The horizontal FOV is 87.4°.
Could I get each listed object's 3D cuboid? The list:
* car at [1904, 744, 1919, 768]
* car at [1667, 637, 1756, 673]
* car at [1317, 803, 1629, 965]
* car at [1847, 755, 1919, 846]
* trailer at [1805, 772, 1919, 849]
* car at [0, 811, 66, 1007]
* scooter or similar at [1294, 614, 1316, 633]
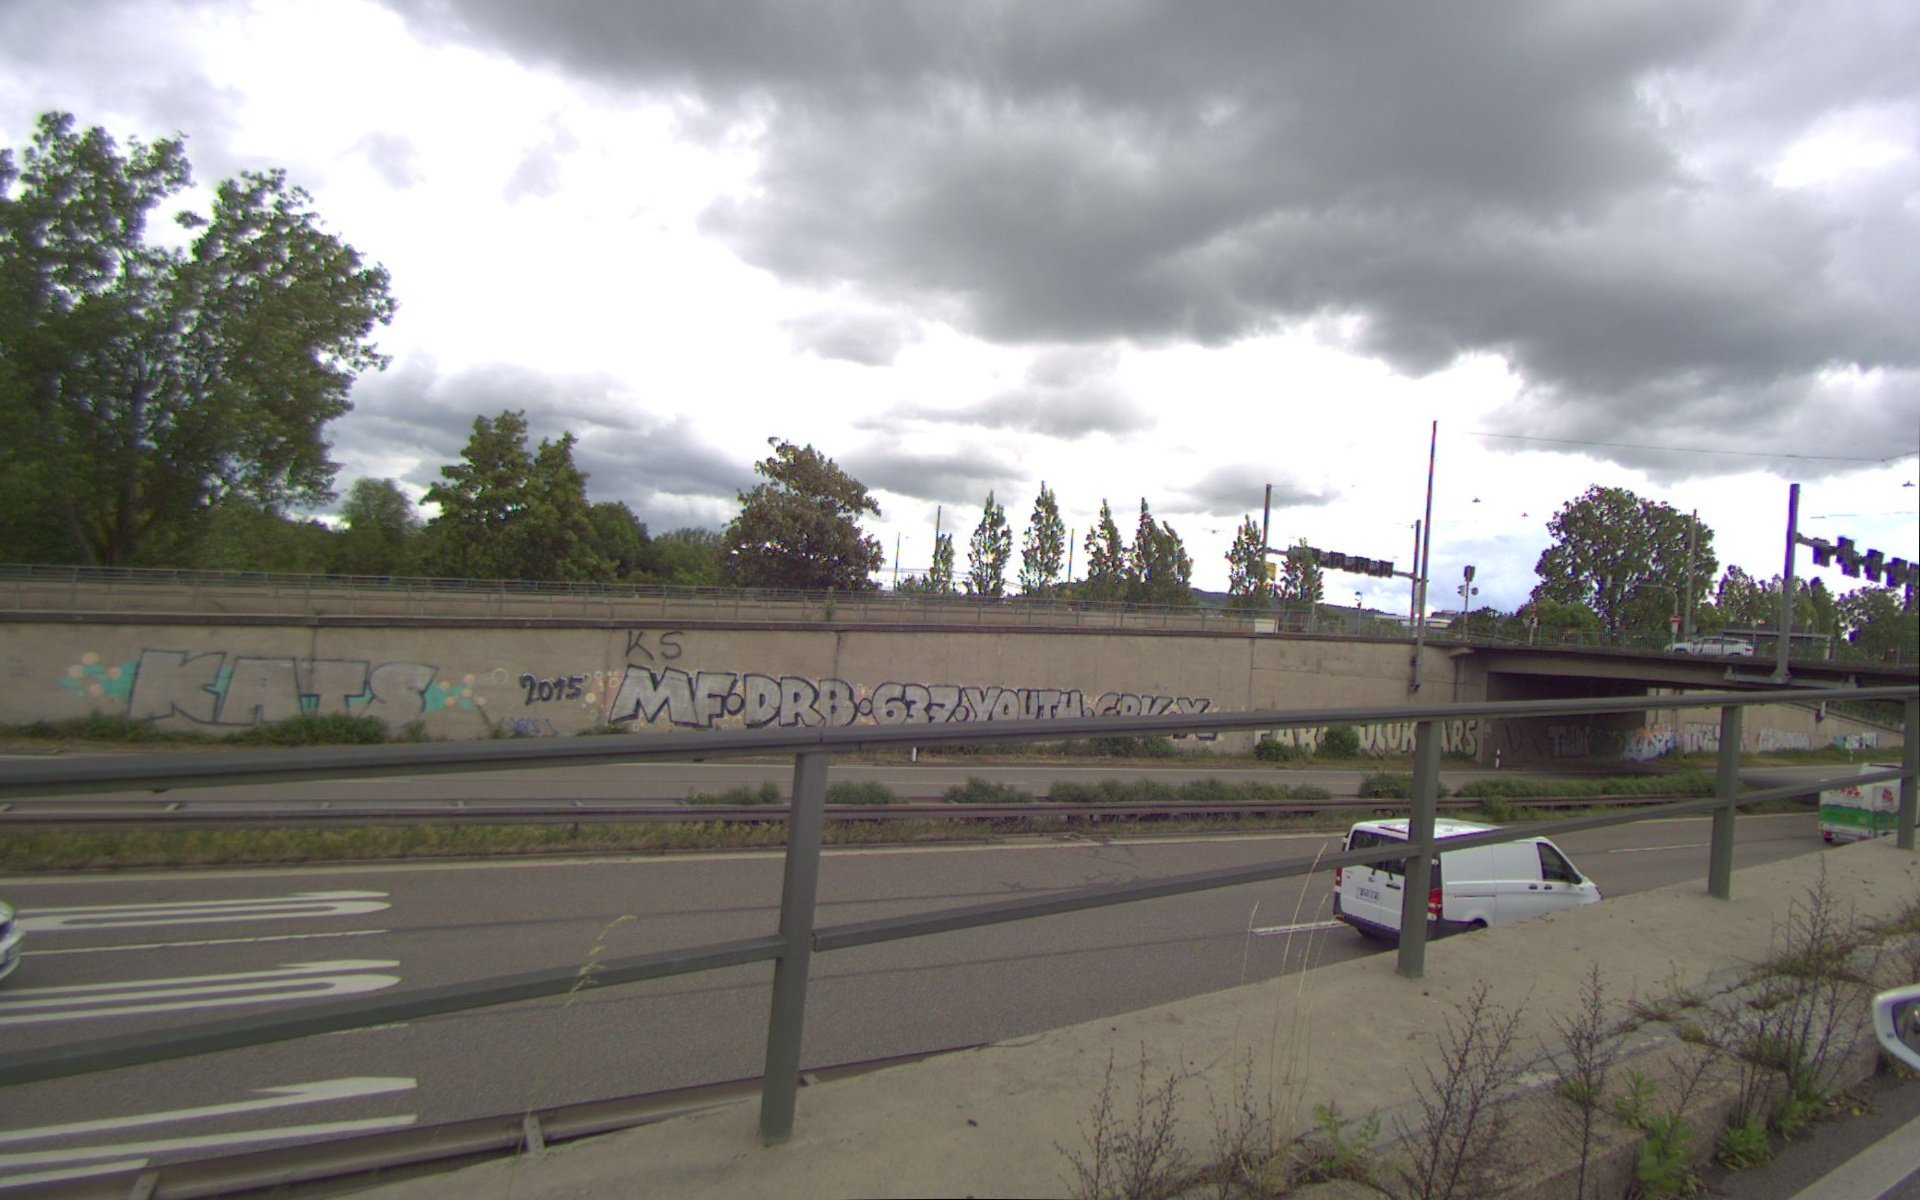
[{"bbox_3d":[91.770,14.864,95.385,5.126,2.093,1.981,6,-2,-34],"label":"car"},{"bbox_3d":[44.825,3.243,59.937,4.147,1.895,1.992,2,-1,38],"label":"car"},{"bbox_3d":[8.365,4.414,16.240,5.141,1.900,1.984,7,-3,-30],"label":"car"},{"bbox_3d":[34.122,7.106,35.757,5.867,2.719,1.984,7,-2,-30],"label":"car"},{"bbox_3d":[29.978,6.940,33.302,3.892,2.156,1.720,7,-2,-30],"label":"trailer"},{"bbox_3d":[-10.790,2.776,8.741,4.119,1.470,1.734,6,-3,-31],"label":"car"},{"bbox_3d":[21.526,1.472,62.668,1.403,1.108,0.539,5,-2,-36],"label":"scooter or similar"}]
